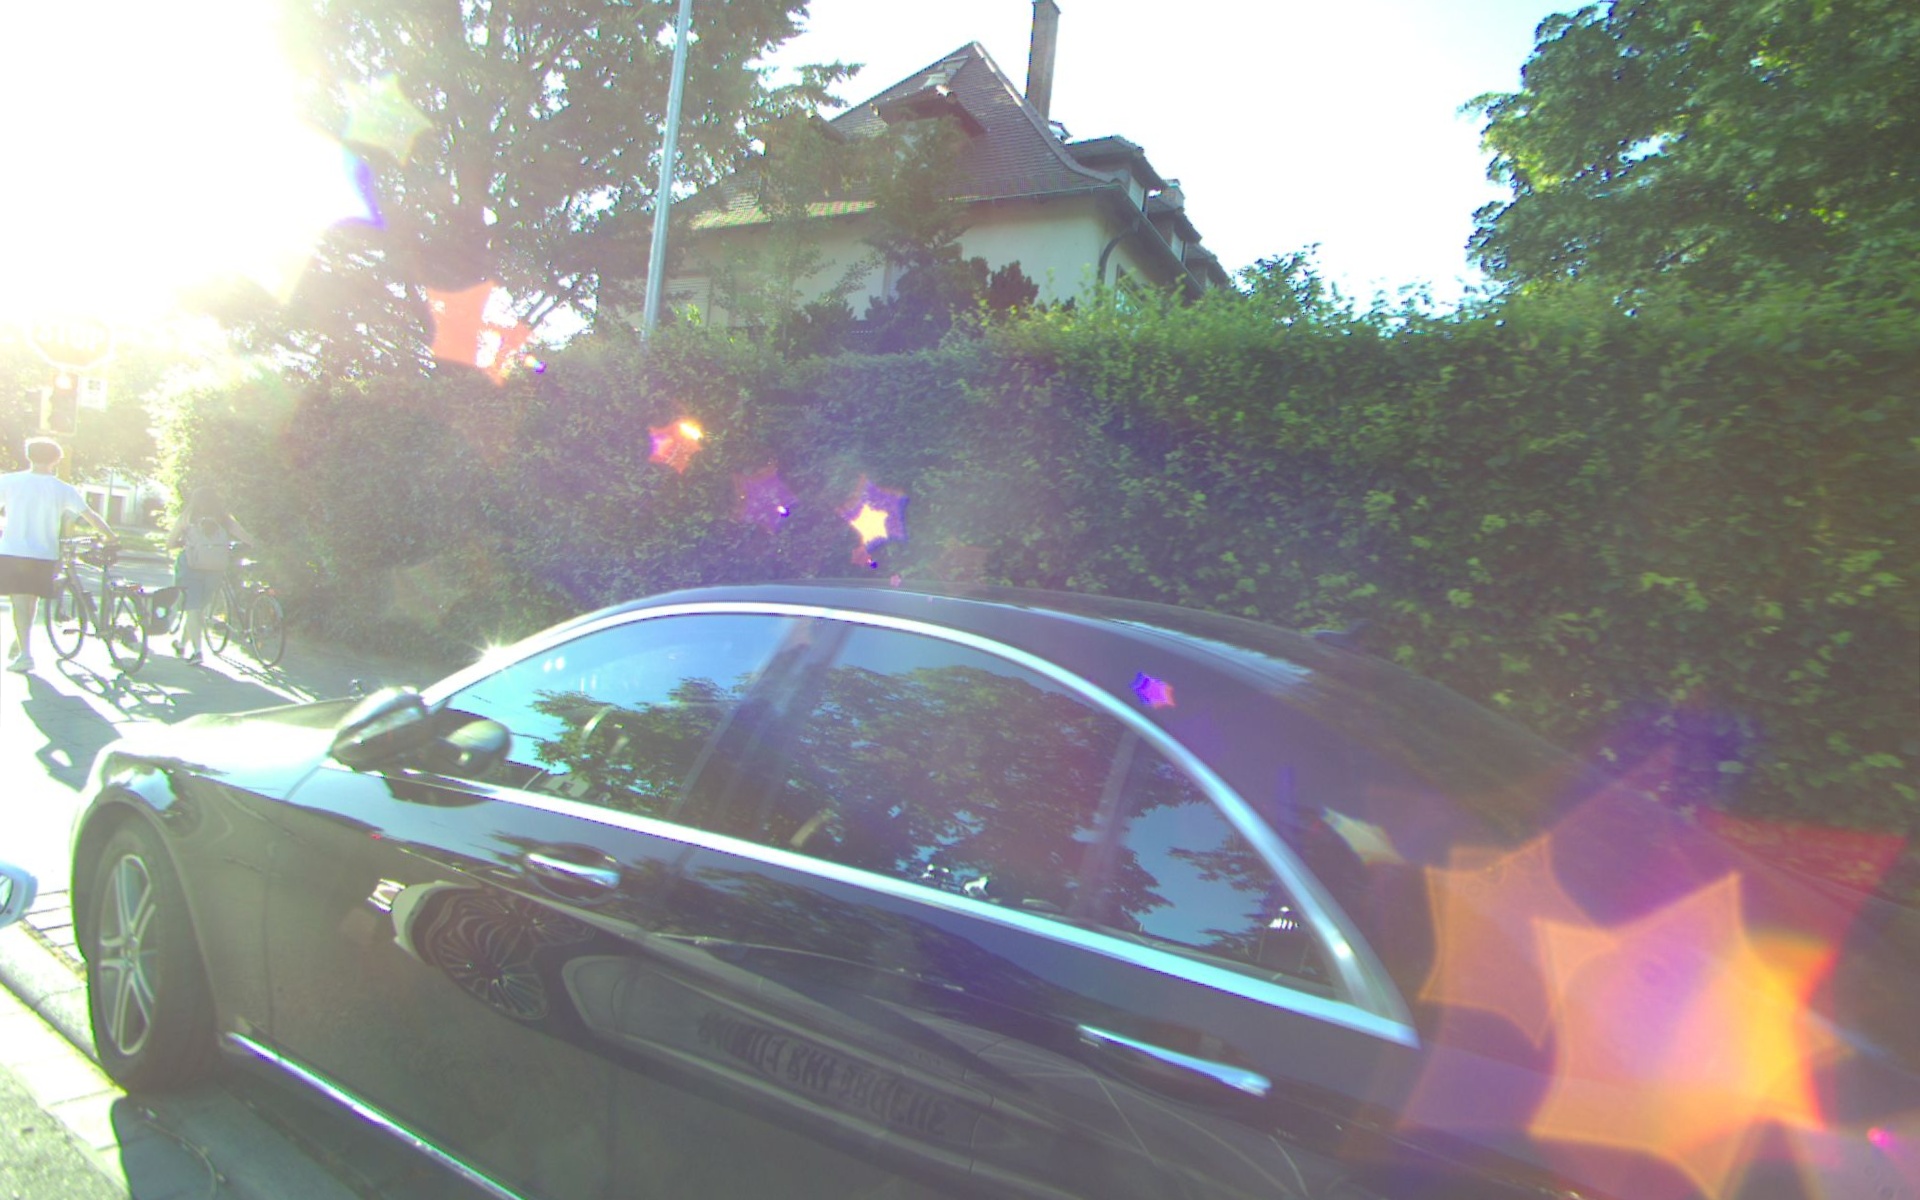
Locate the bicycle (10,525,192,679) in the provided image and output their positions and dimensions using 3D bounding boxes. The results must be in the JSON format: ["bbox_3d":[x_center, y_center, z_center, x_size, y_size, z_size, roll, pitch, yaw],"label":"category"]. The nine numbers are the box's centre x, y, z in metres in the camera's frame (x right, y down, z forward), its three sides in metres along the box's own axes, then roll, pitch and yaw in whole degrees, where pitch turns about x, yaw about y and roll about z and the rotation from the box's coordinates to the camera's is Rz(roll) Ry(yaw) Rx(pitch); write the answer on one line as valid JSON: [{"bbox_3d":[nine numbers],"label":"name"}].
[{"bbox_3d":[-7.397,-0.006,8.645,1.759,1.112,0.487,7,3,26],"label":"bicycle"}]

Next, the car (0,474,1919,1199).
[{"bbox_3d":[-0.352,0.703,2.542,4.791,1.561,1.862,6,0,30],"label":"car"}]

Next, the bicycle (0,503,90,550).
[{"bbox_3d":[-27.897,-2.235,30.628,0.610,1.146,1.955,7,0,34],"label":"bicycle"}]

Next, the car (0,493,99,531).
[{"bbox_3d":[-50.396,-4.828,55.605,1.570,1.444,3.854,7,-1,28],"label":"car"}]

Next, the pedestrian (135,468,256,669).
[{"bbox_3d":[-6.985,-0.294,9.199,0.611,1.733,0.669,7,5,26],"label":"pedestrian"}]

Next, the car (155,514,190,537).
[{"bbox_3d":[-58.782,-5.552,75.130,1.653,1.435,3.511,7,-1,-33],"label":"car"}]

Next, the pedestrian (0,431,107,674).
[{"bbox_3d":[-7.704,-0.404,8.318,0.866,1.891,0.670,7,4,26],"label":"pedestrian"}]

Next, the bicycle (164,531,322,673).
[{"bbox_3d":[-6.814,0.002,9.547,1.570,1.158,0.487,7,3,26],"label":"bicycle"}]
